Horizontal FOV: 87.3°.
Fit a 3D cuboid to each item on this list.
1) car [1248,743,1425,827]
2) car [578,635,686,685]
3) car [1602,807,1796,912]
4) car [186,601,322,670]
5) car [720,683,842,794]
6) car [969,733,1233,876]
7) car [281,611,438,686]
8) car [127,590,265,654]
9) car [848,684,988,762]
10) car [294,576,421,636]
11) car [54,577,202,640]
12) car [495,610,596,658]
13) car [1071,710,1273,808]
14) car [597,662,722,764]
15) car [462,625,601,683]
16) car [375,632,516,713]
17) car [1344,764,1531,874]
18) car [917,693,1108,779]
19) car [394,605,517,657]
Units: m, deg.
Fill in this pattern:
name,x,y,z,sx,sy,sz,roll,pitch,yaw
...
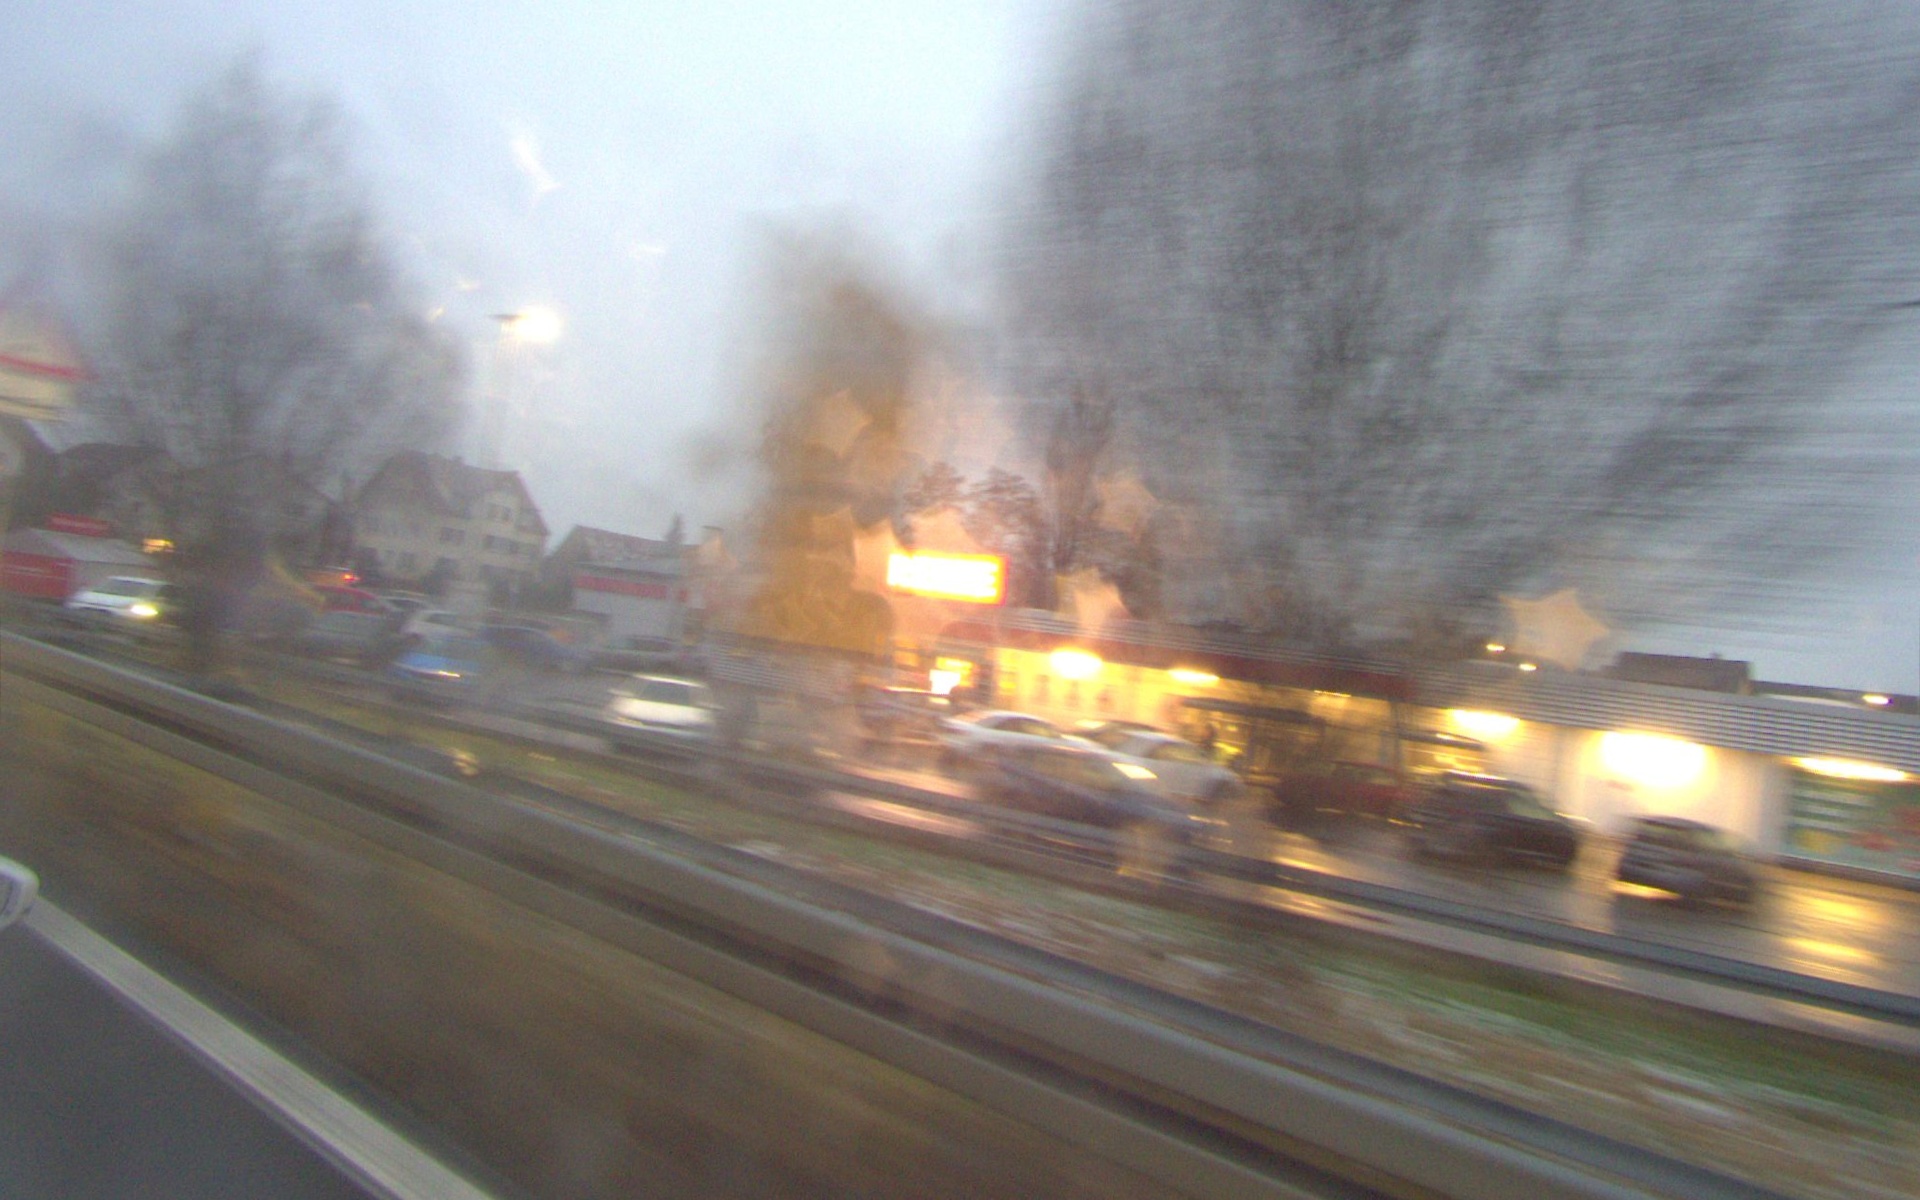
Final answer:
name,x,y,z,sx,sy,sz,roll,pitch,yaw
car,9.768,4.794,26.181,3.966,1.519,1.722,8,-1,-17
car,-12.799,2.347,39.377,3.784,1.367,1.563,8,-1,-19
car,14.443,5.061,19.659,3.221,1.533,1.710,9,-3,-27
car,-18.364,0.869,26.369,1.607,1.436,3.987,8,-2,-17
car,-3.593,2.595,19.599,1.823,1.413,4.168,7,-1,-15
car,2.278,3.205,16.362,3.746,1.446,1.772,6,-1,28
car,-14.714,1.133,24.987,1.900,1.472,4.579,7,-2,-13
car,-20.975,0.561,27.800,1.607,1.436,3.987,8,-2,-17
car,-1.211,3.422,28.192,3.573,1.604,1.597,8,-2,-11
car,-24.594,0.256,41.201,3.977,1.890,1.717,8,-1,-18
car,-23.893,0.217,29.087,1.770,1.456,3.987,8,-2,-17
car,-17.821,1.467,43.310,3.791,1.518,1.561,9,-1,-24
car,5.201,3.893,24.687,4.412,1.657,1.818,10,-2,-21
car,-6.119,2.253,21.002,1.873,1.413,4.697,7,-1,-11
car,-15.243,1.929,36.022,4.251,1.441,1.741,8,-1,-15
car,-12.048,1.649,23.872,1.874,1.413,4.170,7,-1,-13
car,9.966,4.557,21.204,1.377,1.552,3.236,9,-3,-28
car,1.338,3.514,26.076,4.476,1.553,1.801,8,-2,-16
car,-18.822,1.151,37.645,3.702,1.446,1.565,8,-1,-13
